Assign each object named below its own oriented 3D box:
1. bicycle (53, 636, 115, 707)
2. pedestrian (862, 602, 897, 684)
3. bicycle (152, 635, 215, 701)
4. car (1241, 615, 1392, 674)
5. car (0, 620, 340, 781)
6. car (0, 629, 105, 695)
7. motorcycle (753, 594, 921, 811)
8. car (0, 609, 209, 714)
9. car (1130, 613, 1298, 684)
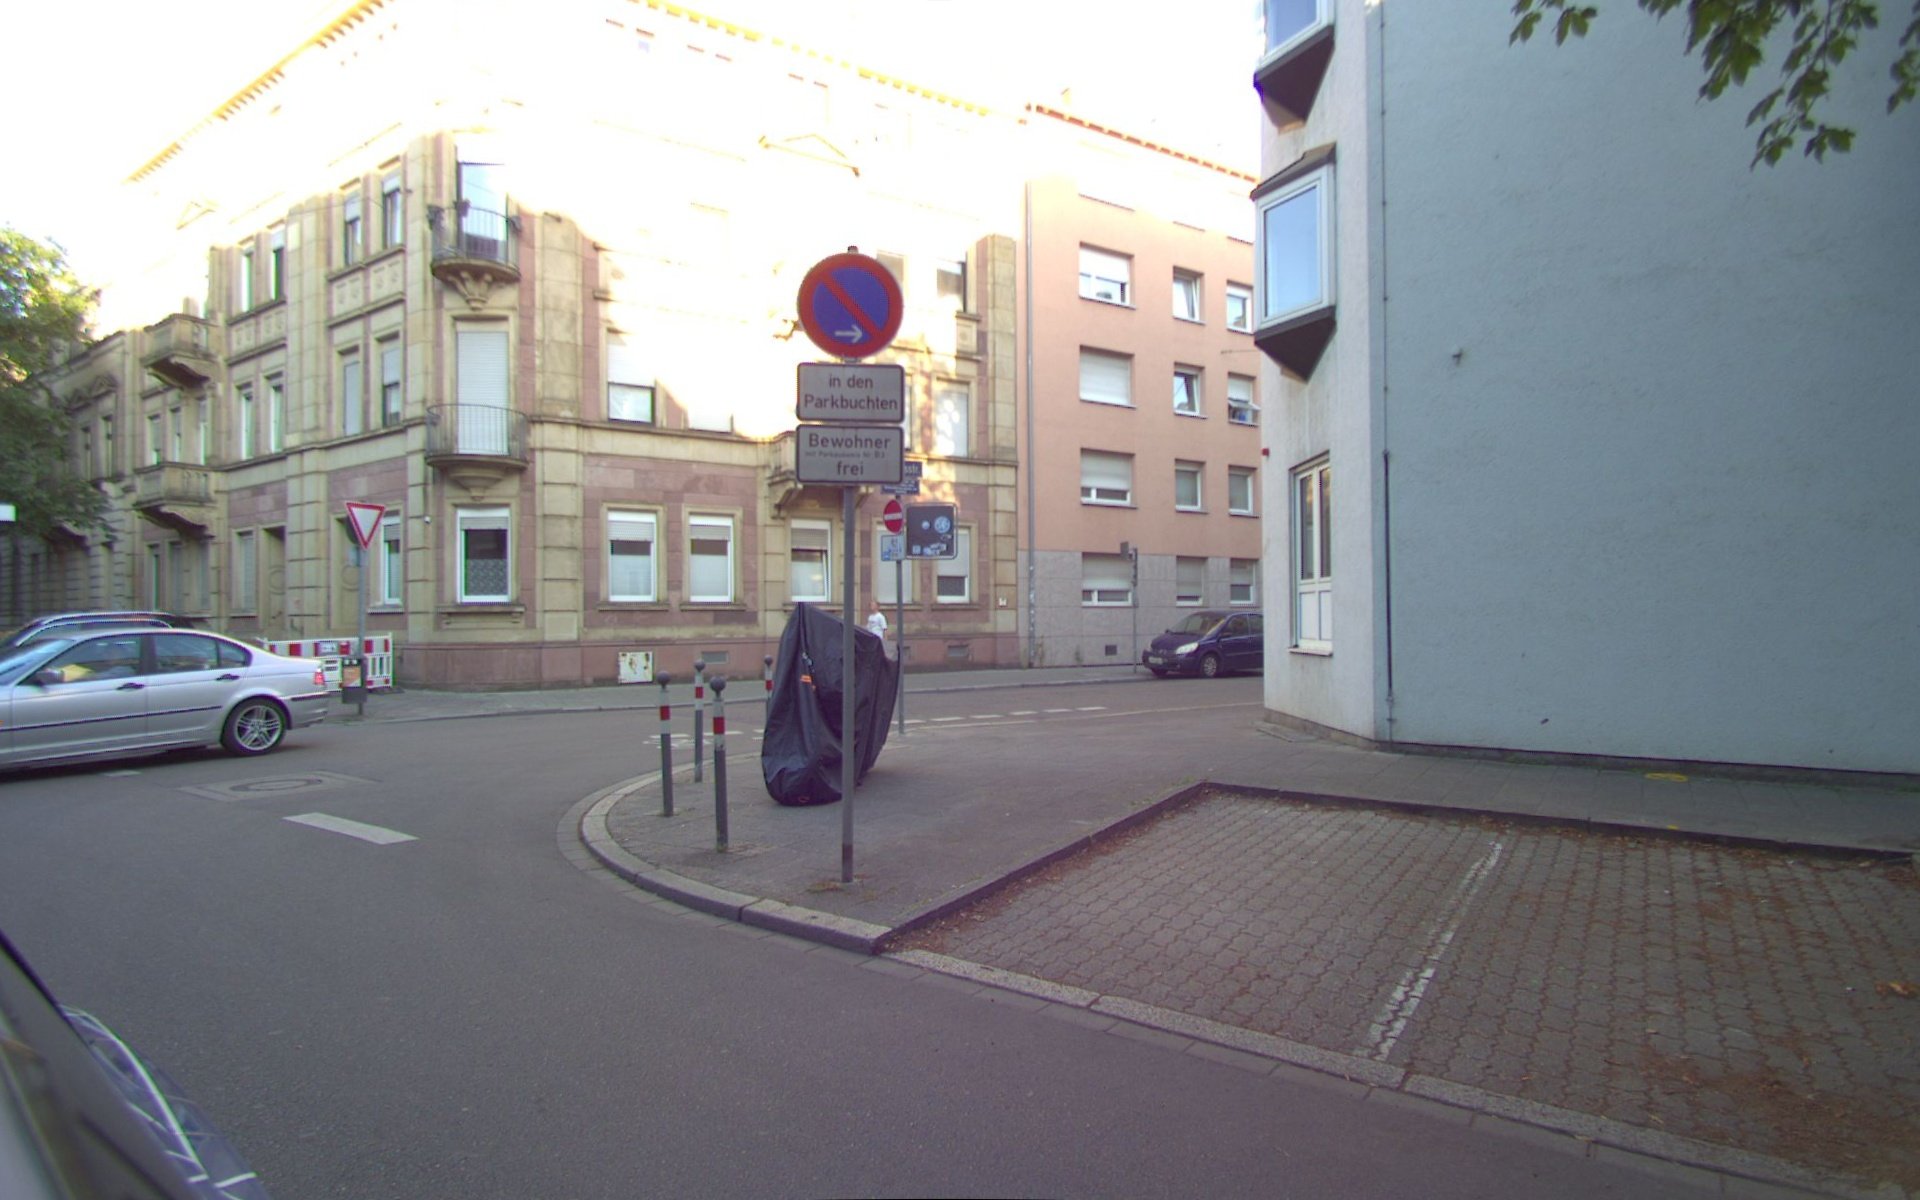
[{"bbox_3d":[-14.637,1.172,16.892,1.866,1.097,0.360,0,1,36],"label":"bicycle"},{"bbox_3d":[-1.763,0.925,22.046,0.559,1.757,0.552,1,-2,-34],"label":"pedestrian"},{"bbox_3d":[-13.876,1.192,18.077,1.866,1.097,0.360,0,1,36],"label":"bicycle"},{"bbox_3d":[9.935,1.188,28.113,4.211,1.525,1.699,1,-2,-33],"label":"car"},{"bbox_3d":[-8.837,0.947,10.004,1.673,1.414,4.431,-3,-3,26],"label":"car"},{"bbox_3d":[-22.961,1.448,23.545,1.773,1.499,4.392,-2,-2,36],"label":"car"},{"bbox_3d":[-0.953,0.766,8.465,0.663,1.567,2.152,-1,-1,14],"label":"motorcycle"},{"bbox_3d":[-17.008,1.104,18.846,1.773,1.751,4.536,0,1,36],"label":"car"},{"bbox_3d":[6.280,1.148,24.901,3.985,1.637,1.700,0,-2,-32],"label":"car"}]
